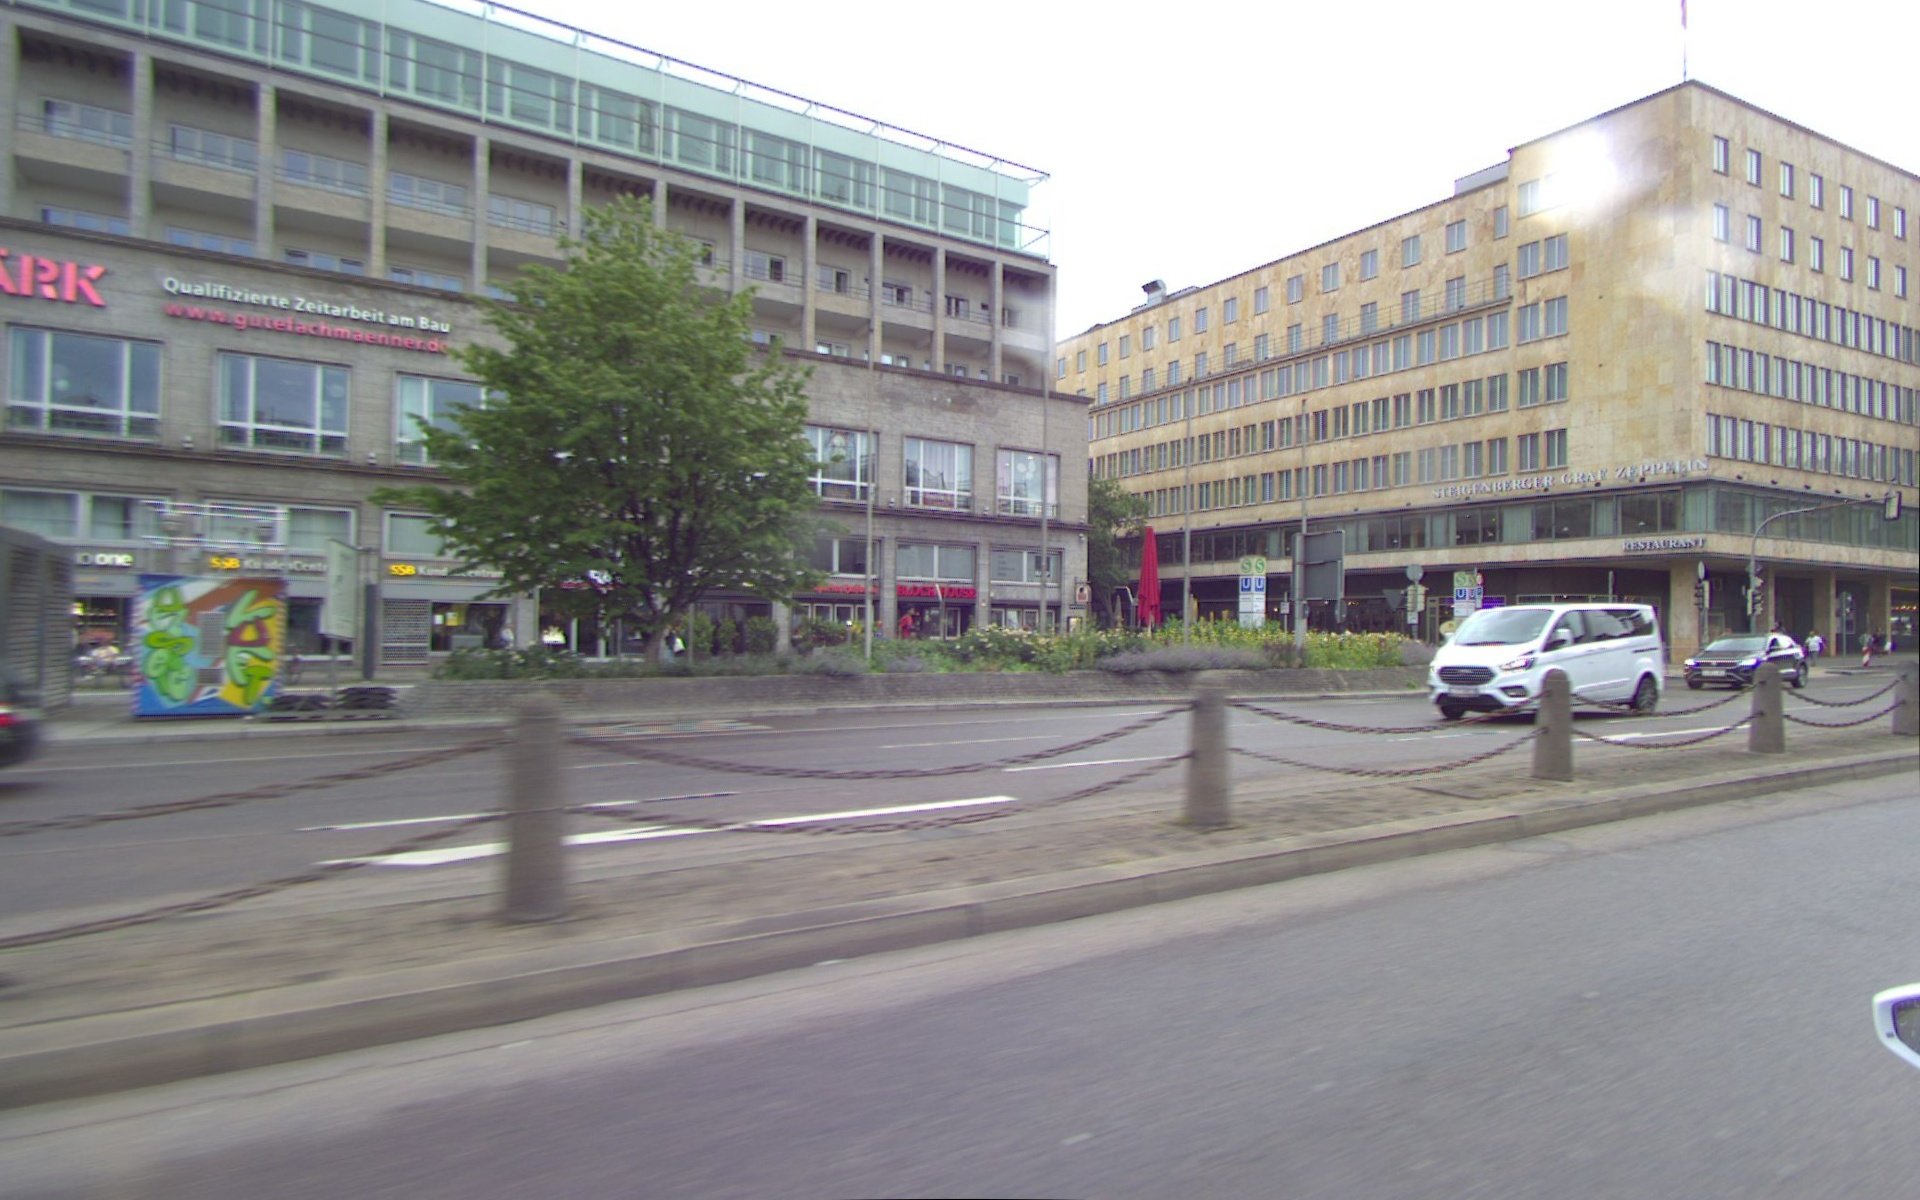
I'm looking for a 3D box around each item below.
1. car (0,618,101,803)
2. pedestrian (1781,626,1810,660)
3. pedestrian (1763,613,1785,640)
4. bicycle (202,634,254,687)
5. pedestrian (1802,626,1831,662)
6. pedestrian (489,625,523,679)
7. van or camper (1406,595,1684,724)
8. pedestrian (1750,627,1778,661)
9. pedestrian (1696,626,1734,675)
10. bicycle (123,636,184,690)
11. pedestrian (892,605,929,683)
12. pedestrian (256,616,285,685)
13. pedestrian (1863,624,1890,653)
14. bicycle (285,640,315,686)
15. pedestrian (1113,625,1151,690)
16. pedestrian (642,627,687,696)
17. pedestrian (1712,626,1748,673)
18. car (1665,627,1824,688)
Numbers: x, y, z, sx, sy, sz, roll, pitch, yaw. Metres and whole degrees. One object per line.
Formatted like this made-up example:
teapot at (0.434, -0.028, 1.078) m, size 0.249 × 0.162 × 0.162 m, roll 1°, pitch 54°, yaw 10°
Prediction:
car at (-10.875, 0.960, 8.674) m, size 4.921 × 1.638 × 1.984 m, roll 1°, pitch -2°, yaw -31°
pedestrian at (38.536, 1.984, 46.334) m, size 0.894 × 1.578 × 0.718 m, roll 1°, pitch -2°, yaw -28°
pedestrian at (46.425, 1.511, 57.290) m, size 0.707 × 1.546 × 0.792 m, roll 1°, pitch -2°, yaw -27°
bicycle at (-19.146, 1.554, 26.312) m, size 0.654 × 1.310 × 2.359 m, roll 1°, pitch -2°, yaw -26°
pedestrian at (38.876, 1.994, 45.598) m, size 0.883 × 1.578 × 0.718 m, roll 1°, pitch -2°, yaw -28°
pedestrian at (-13.679, 1.557, 30.277) m, size 0.717 × 1.617 × 0.665 m, roll -1°, pitch -2°, yaw 38°
van or camper at (10.525, 1.018, 17.977) m, size 5.126 × 2.040 × 1.985 m, roll 2°, pitch -2°, yaw -29°
pedestrian at (37.991, 2.063, 47.457) m, size 0.992 × 1.578 × 0.718 m, roll 1°, pitch -2°, yaw -28°
pedestrian at (26.985, 1.798, 35.928) m, size 0.692 × 1.694 × 0.833 m, roll 1°, pitch -2°, yaw -16°
bicycle at (-20.619, 1.588, 25.723) m, size 0.654 × 1.310 × 2.359 m, roll 1°, pitch -2°, yaw -26°
pedestrian at (-1.311, 1.164, 26.747) m, size 0.784 × 2.040 × 0.664 m, roll 1°, pitch -2°, yaw -29°
pedestrian at (-19.153, 1.393, 27.909) m, size 0.600 × 1.879 × 0.674 m, roll 1°, pitch -2°, yaw -38°
pedestrian at (48.415, 2.026, 53.064) m, size 0.904 × 1.546 × 0.792 m, roll 1°, pitch -2°, yaw -27°
bicycle at (-17.787, 1.676, 27.100) m, size 0.497 × 1.176 × 1.898 m, roll 1°, pitch -2°, yaw -28°
pedestrian at (4.767, 1.581, 27.827) m, size 0.782 × 1.757 × 0.665 m, roll 1°, pitch -2°, yaw -24°
pedestrian at (-8.894, 1.825, 30.234) m, size 1.061 × 2.040 × 0.771 m, roll 0°, pitch -2°, yaw 7°
pedestrian at (27.774, 1.783, 36.222) m, size 0.686 × 1.694 × 0.758 m, roll 1°, pitch -2°, yaw -16°
car at (22.509, 1.608, 28.803) m, size 4.519 × 1.638 × 1.985 m, roll 1°, pitch -2°, yaw -29°
